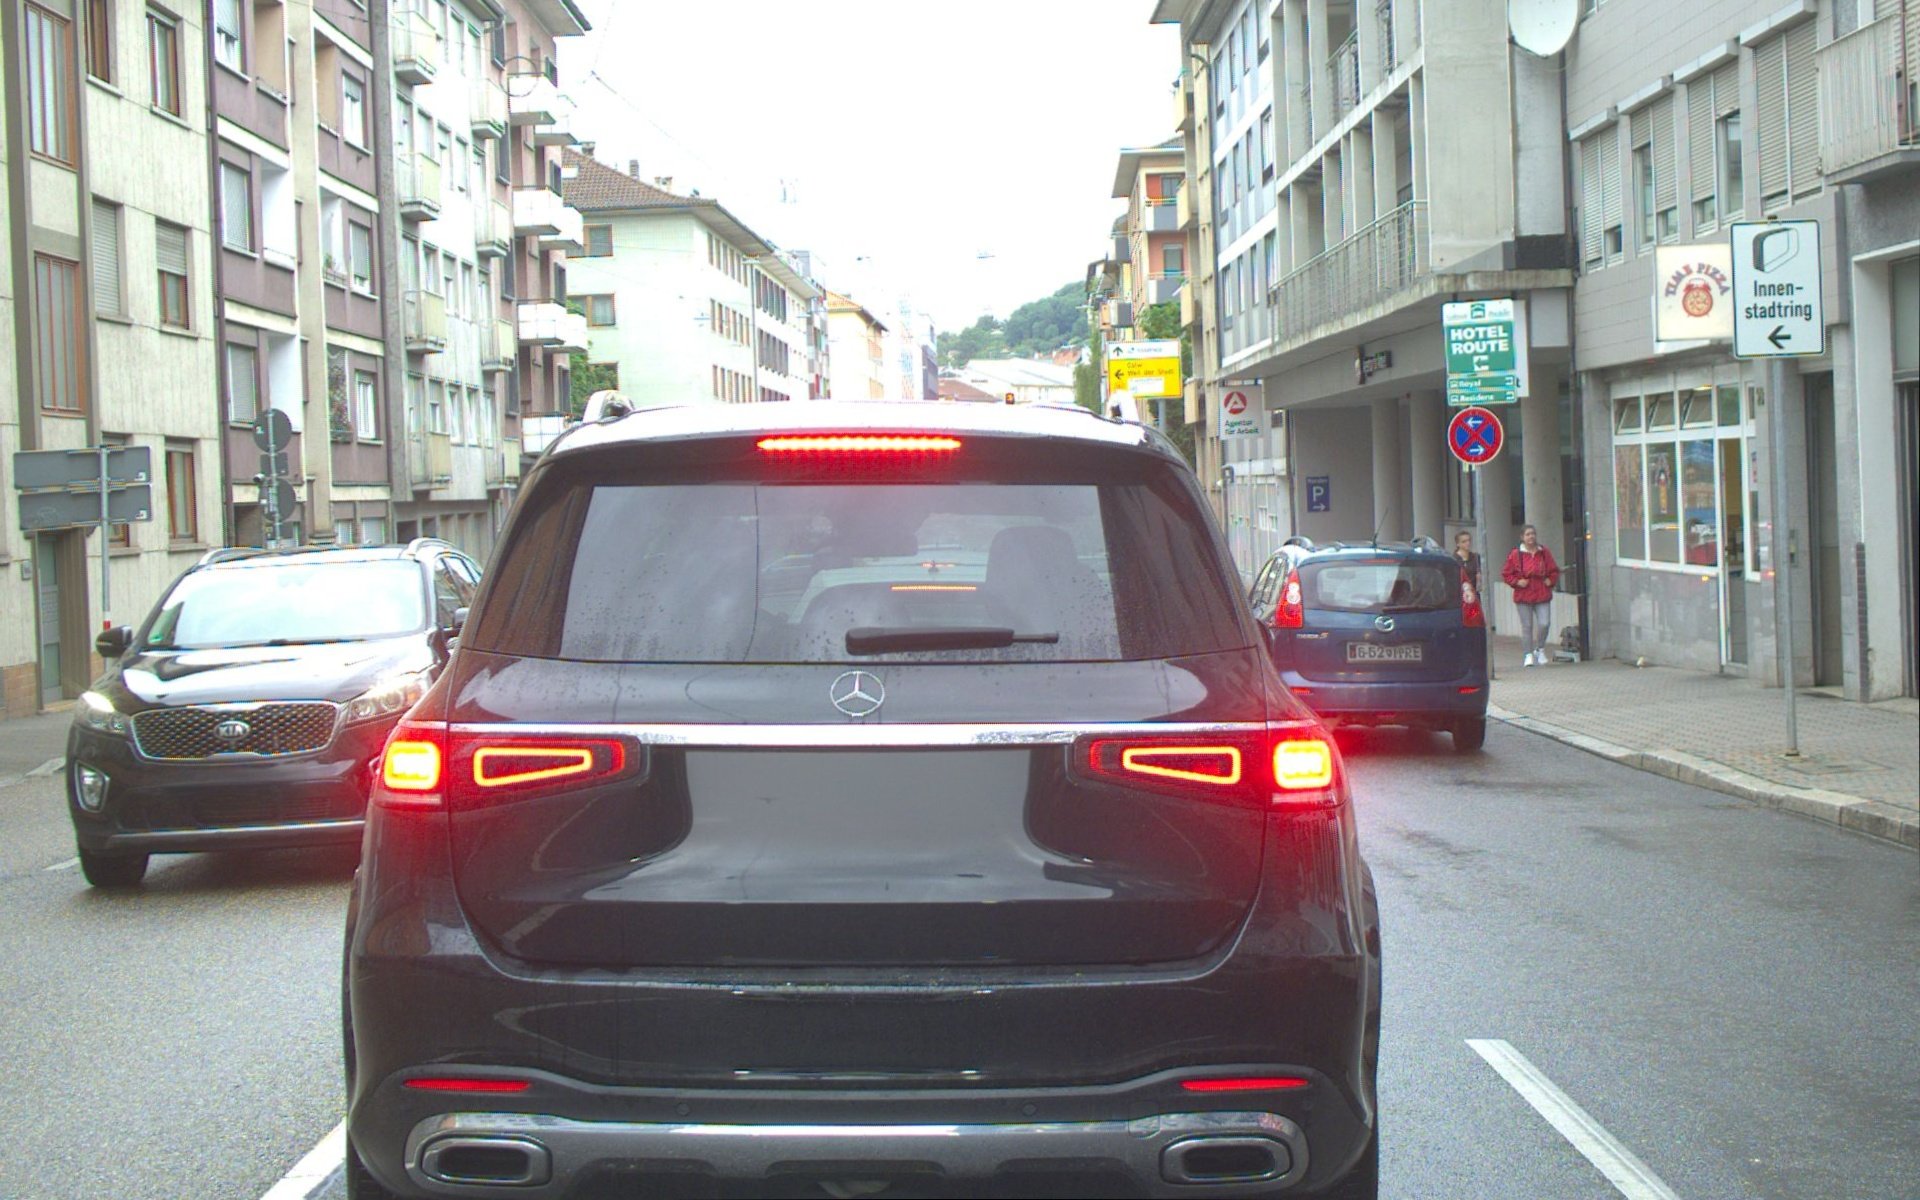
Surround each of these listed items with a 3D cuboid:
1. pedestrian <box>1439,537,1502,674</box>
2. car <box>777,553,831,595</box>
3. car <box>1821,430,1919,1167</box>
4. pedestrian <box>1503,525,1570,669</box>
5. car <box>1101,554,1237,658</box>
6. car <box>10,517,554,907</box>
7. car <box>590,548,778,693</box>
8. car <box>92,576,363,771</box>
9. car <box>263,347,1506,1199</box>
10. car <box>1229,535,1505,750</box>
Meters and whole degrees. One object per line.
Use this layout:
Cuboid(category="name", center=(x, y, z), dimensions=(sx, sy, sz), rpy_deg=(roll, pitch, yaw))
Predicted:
Cuboid(category="pedestrian", center=(5.722, 0.054, 38.574), dimensions=(0.506, 1.495, 0.562), rpy_deg=(-4, 1, -1))
Cuboid(category="car", center=(-5.563, -0.951, 122.696), dimensions=(1.698, 1.385, 4.339), rpy_deg=(-3, 1, -1))
Cuboid(category="car", center=(3.293, 0.502, 6.780), dimensions=(1.940, 1.769, 4.746), rpy_deg=(0, 1, -1))
Cuboid(category="pedestrian", center=(6.465, -0.036, 38.564), dimensions=(0.560, 1.573, 0.526), rpy_deg=(-4, 1, 1))
Cuboid(category="car", center=(3.025, 0.059, 50.379), dimensions=(1.621, 1.425, 4.312), rpy_deg=(1, 1, -1))
Cuboid(category="car", center=(-3.464, 0.484, 18.454), dimensions=(1.836, 1.721, 4.474), rpy_deg=(-4, 1, 1))
Cuboid(category="car", center=(-3.629, 0.224, 46.088), dimensions=(2.126, 1.715, 4.818), rpy_deg=(-3, 1, -1))
Cuboid(category="car", center=(-6.838, 0.634, 32.501), dimensions=(1.797, 1.579, 4.317), rpy_deg=(-4, 1, -4))
Cuboid(category="car", center=(-0.166, 0.467, 7.659), dimensions=(2.025, 1.799, 4.000), rpy_deg=(1, 1, -1))
Cuboid(category="car", center=(3.200, 0.280, 27.748), dimensions=(1.808, 1.600, 4.212), rpy_deg=(0, 1, 1))
